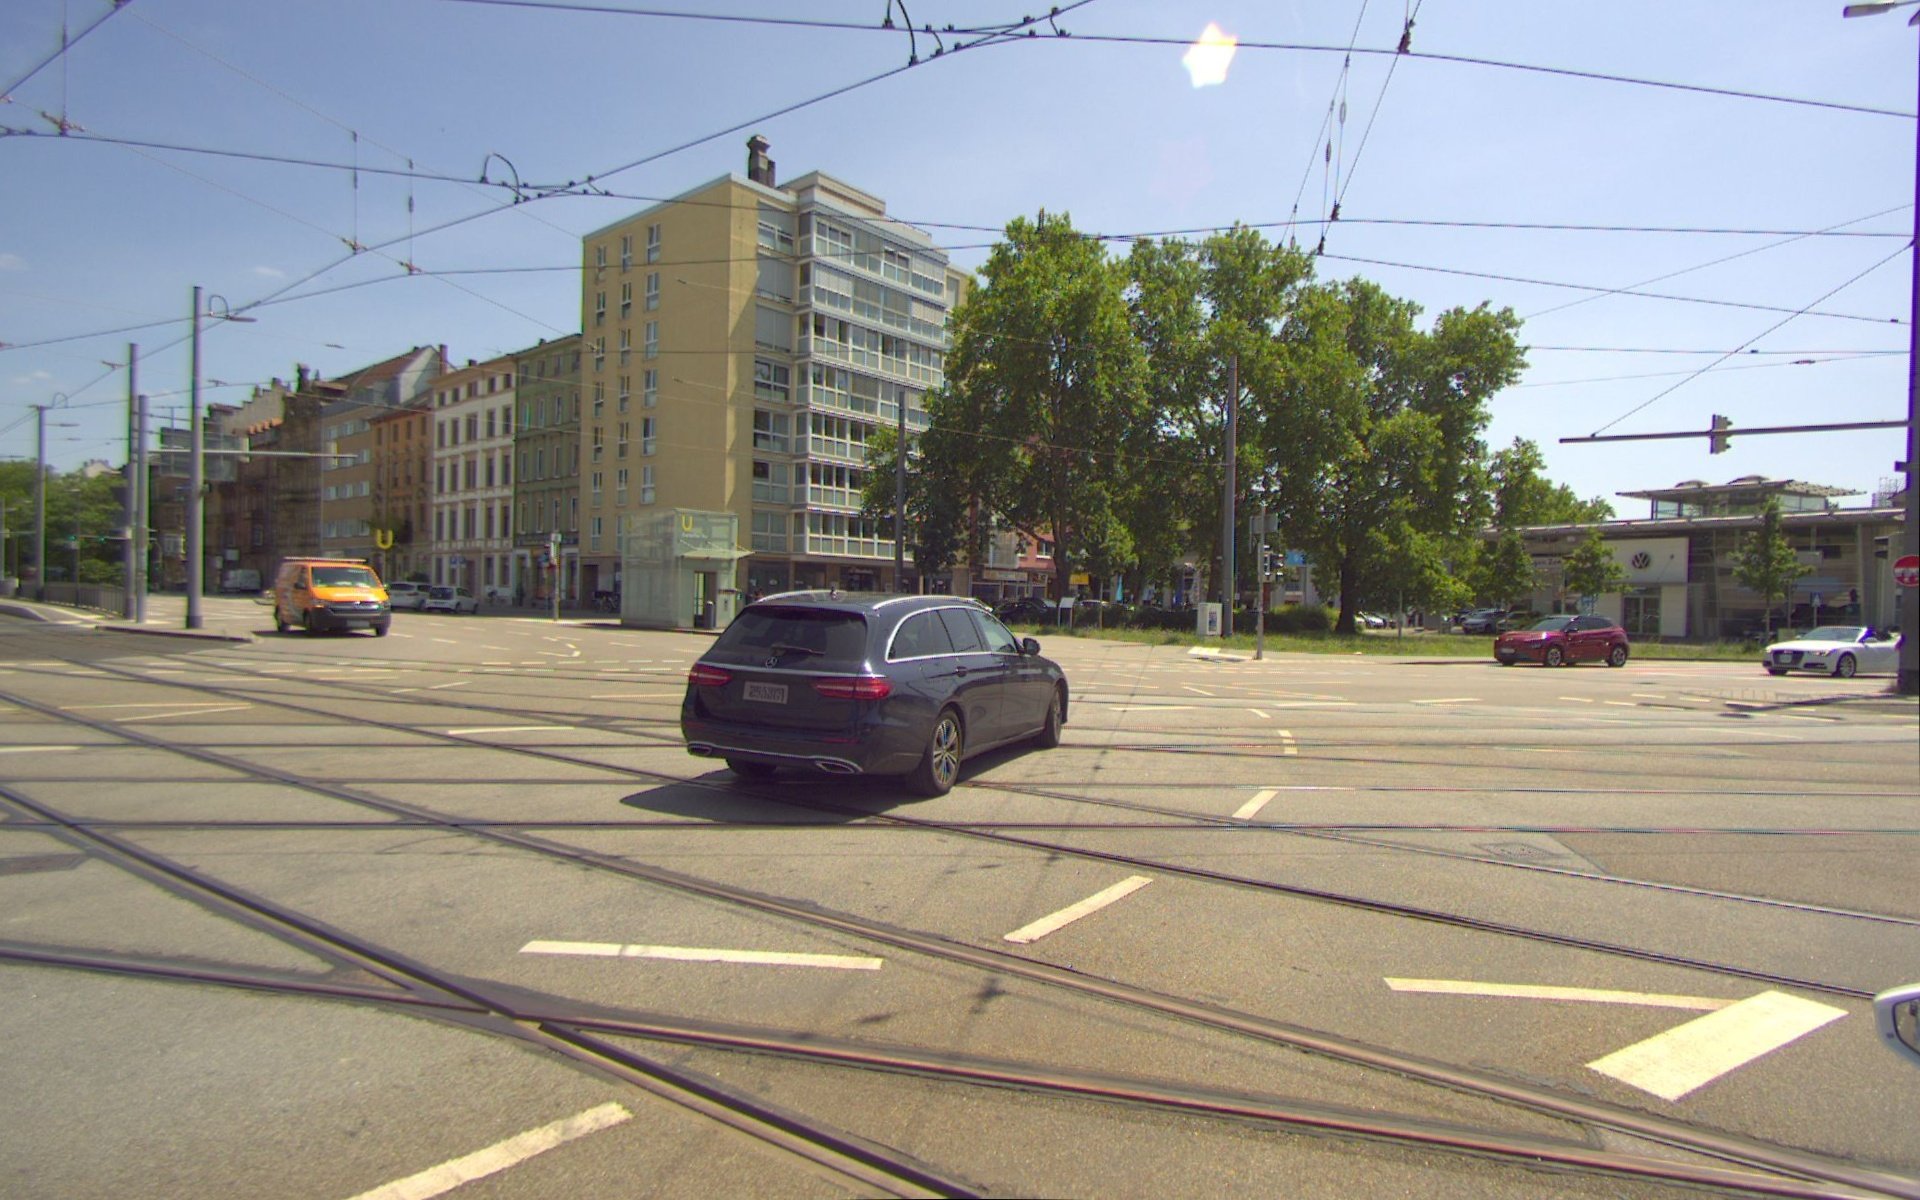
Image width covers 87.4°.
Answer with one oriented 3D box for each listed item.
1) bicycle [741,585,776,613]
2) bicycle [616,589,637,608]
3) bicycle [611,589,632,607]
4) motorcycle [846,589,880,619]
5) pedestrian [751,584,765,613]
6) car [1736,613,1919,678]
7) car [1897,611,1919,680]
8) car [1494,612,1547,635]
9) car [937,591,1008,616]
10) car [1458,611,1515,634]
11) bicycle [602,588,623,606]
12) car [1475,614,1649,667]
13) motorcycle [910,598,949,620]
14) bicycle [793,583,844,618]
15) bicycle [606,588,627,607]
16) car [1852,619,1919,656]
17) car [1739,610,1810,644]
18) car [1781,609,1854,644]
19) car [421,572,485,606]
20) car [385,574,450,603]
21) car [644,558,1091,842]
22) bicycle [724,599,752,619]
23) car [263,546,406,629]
[{"bbox_3d":[-10.561,-0.066,52.625,0.598,1.135,1.596,2,-10,45],"label":"bicycle"},{"bbox_3d":[-19.227,-0.081,57.894,0.424,1.040,1.445,2,1,14],"label":"bicycle"},{"bbox_3d":[-19.600,-0.111,58.187,0.424,1.040,1.445,2,1,14],"label":"bicycle"},{"bbox_3d":[-4.295,0.174,44.231,0.949,1.238,2.801,1,1,-17],"label":"motorcycle"},{"bbox_3d":[-10.568,-0.094,52.535,0.678,1.506,0.301,1,1,-42],"label":"pedestrian"},{"bbox_3d":[23.940,1.225,27.399,4.771,1.601,2.074,1,0,-19],"label":"car"},{"bbox_3d":[25.914,1.181,24.688,4.766,1.659,1.994,1,0,-15],"label":"car"},{"bbox_3d":[40.032,1.667,71.691,4.286,1.530,1.754,1,1,-37],"label":"car"},{"bbox_3d":[0.767,0.214,61.632,3.932,1.439,1.994,2,1,34],"label":"car"},{"bbox_3d":[38.840,1.668,74.038,4.278,1.530,1.757,1,0,-32],"label":"car"},{"bbox_3d":[-20.398,-0.178,58.929,0.424,1.040,1.445,2,1,14],"label":"bicycle"},{"bbox_3d":[18.538,1.229,30.949,4.771,1.485,1.991,1,0,-19],"label":"car"},{"bbox_3d":[-1.499,0.434,49.201,1.885,0.974,0.525,2,1,28],"label":"motorcycle"},{"bbox_3d":[-7.534,0.029,53.446,2.847,1.790,1.095,2,1,41],"label":"bicycle"},{"bbox_3d":[-20.043,-0.149,58.605,0.424,1.040,1.445,2,1,14],"label":"bicycle"},{"bbox_3d":[49.708,2.020,53.680,3.956,1.730,1.910,2,2,-32],"label":"car"},{"bbox_3d":[46.928,1.565,57.887,3.956,1.730,1.910,2,2,-32],"label":"car"},{"bbox_3d":[47.955,1.471,56.177,3.956,1.730,1.910,2,2,-32],"label":"car"},{"bbox_3d":[-27.643,-0.611,54.937,1.804,1.773,3.996,1,1,-6],"label":"car"},{"bbox_3d":[-30.089,-0.648,55.824,1.804,1.530,3.996,1,1,-6],"label":"car"},{"bbox_3d":[-0.383,0.570,8.638,1.768,1.662,4.802,3,2,22],"label":"car"},{"bbox_3d":[-11.756,0.485,53.242,0.426,1.040,1.436,2,1,41],"label":"bicycle"},{"bbox_3d":[-17.171,-0.352,27.477,4.799,2.085,1.990,2,1,41],"label":"car"}]
